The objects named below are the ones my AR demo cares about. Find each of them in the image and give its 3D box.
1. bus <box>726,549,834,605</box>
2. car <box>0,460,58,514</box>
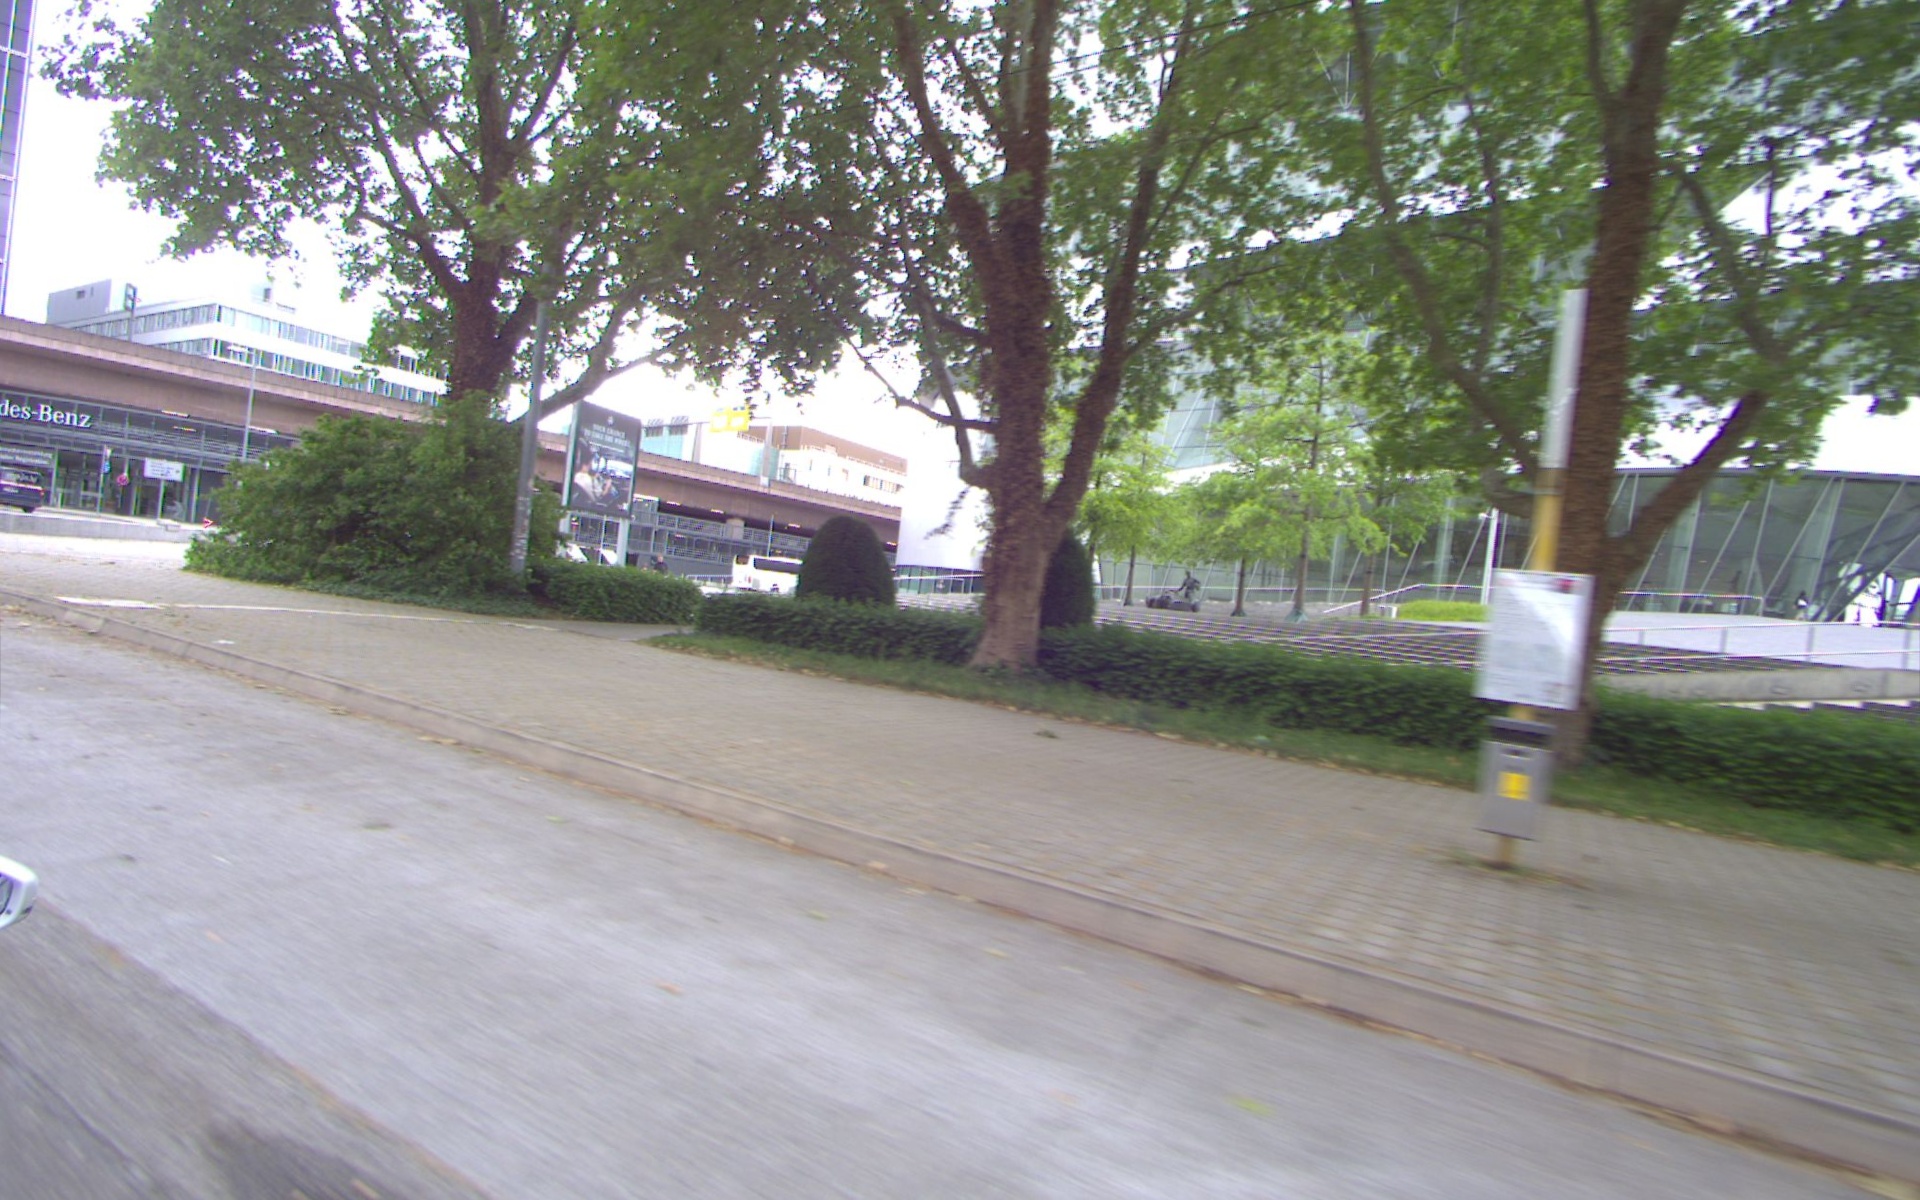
[{"bbox_3d":[-17.217,-2.122,97.110,2.716,3.981,11.050,7,-1,37],"label":"bus"},{"bbox_3d":[-43.576,-5.238,45.426,4.695,2.038,2.283,7,-1,22],"label":"car"}]
